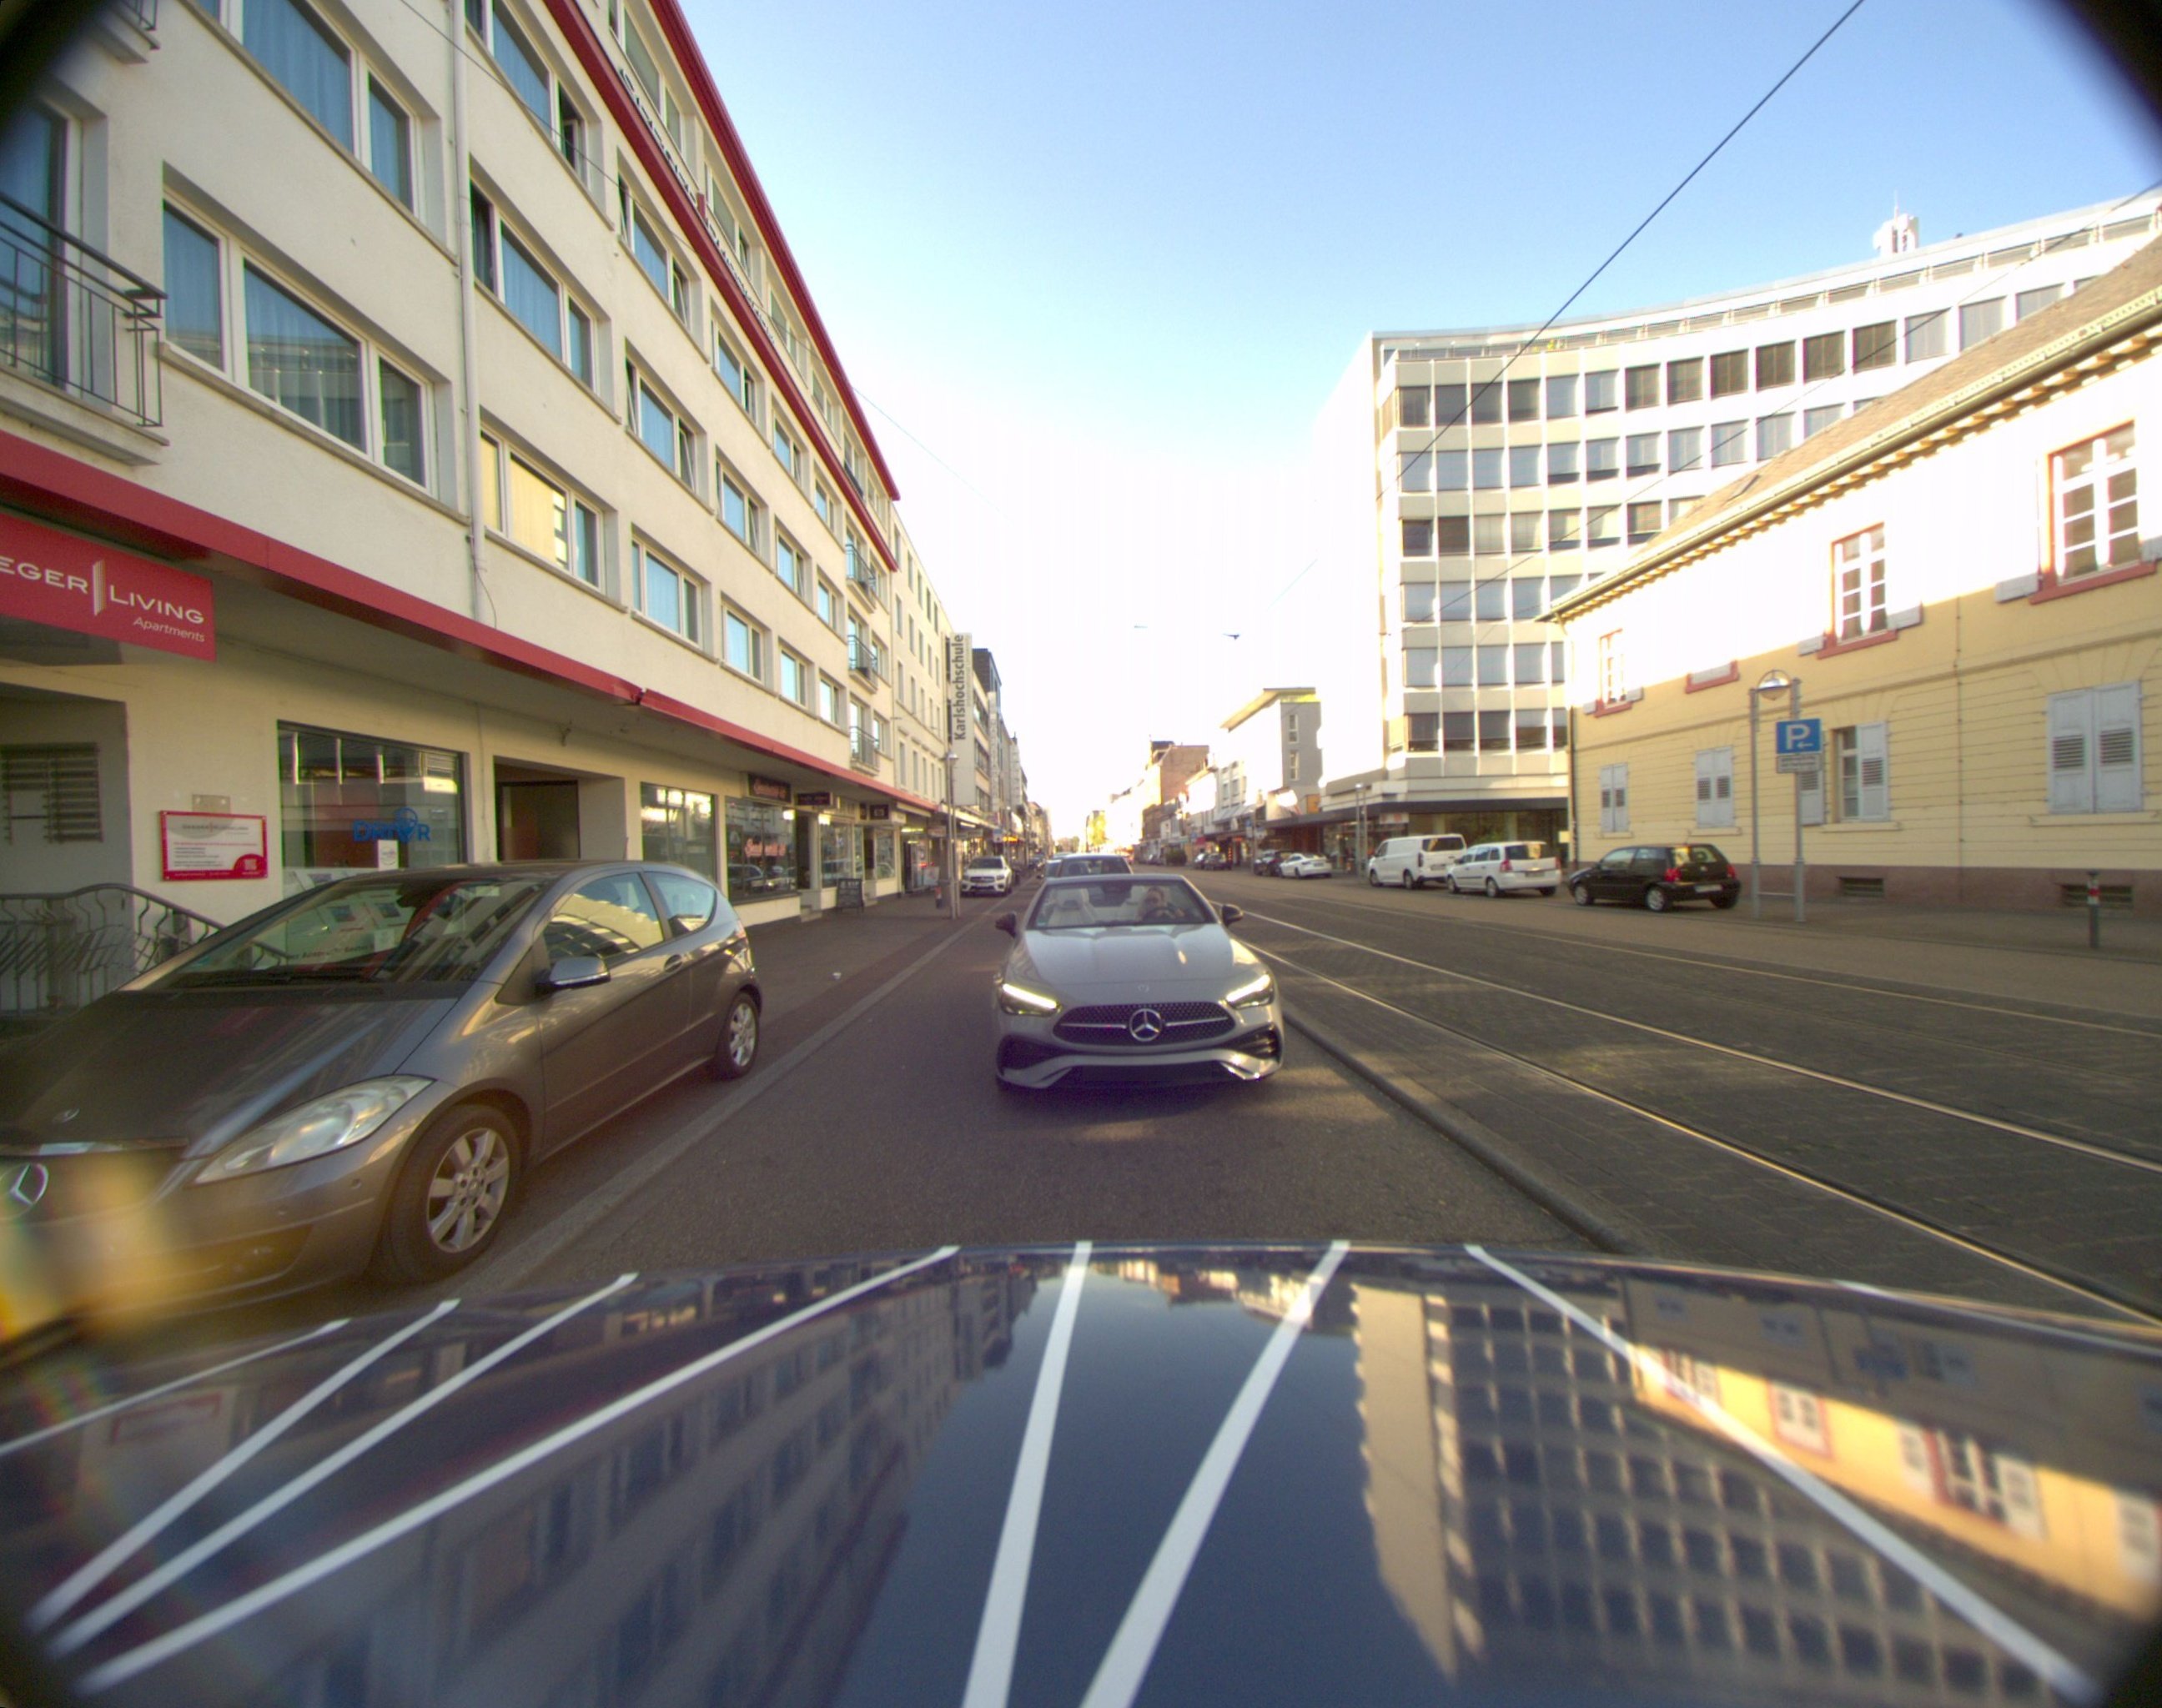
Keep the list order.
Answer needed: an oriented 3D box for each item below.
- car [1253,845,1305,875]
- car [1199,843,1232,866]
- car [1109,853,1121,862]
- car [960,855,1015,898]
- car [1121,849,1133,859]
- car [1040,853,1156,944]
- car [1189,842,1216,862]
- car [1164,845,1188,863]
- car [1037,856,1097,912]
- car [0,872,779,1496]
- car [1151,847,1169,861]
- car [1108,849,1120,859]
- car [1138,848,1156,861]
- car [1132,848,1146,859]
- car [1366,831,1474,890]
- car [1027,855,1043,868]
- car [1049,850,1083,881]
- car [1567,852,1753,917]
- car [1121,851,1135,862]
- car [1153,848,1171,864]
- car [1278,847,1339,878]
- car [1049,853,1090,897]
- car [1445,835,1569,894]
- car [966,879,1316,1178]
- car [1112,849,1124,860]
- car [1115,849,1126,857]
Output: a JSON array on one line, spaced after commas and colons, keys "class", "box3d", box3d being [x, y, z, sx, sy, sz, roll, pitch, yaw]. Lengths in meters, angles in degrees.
[{"class": "car", "box3d": [12.339, 0.360, 47.696, 1.999, 1.694, 4.107, -3, 1, -2]}, {"class": "car", "box3d": [11.561, 0.047, 65.504, 1.999, 1.849, 3.998, -2, 1, -2]}, {"class": "car", "box3d": [6.147, 0.649, 136.416, 1.964, 1.499, 4.000, -2, 1, 4]}, {"class": "car", "box3d": [-3.843, 0.888, 31.715, 1.999, 1.620, 3.998, -1, 0, -4]}, {"class": "car", "box3d": [9.556, -0.052, 157.311, 1.999, 2.002, 3.999, -1, 0, -2]}, {"class": "car", "box3d": [0.208, 0.795, 15.492, 1.927, 1.533, 3.998, -2, 0, -4]}, {"class": "car", "box3d": [11.833, -0.217, 74.184, 1.789, 1.870, 3.999, -1, 0, -2]}, {"class": "car", "box3d": [11.296, 0.021, 90.393, 2.200, 2.030, 3.999, -1, 0, -1]}, {"class": "car", "box3d": [-0.431, 0.864, 23.610, 1.648, 1.506, 3.844, -2, 0, -1]}, {"class": "car", "box3d": [-3.214, 0.936, 3.978, 1.683, 1.537, 3.999, -2, 0, -1]}, {"class": "car", "box3d": [11.578, 0.001, 111.446, 1.999, 2.002, 3.998, -2, 1, -2]}, {"class": "car", "box3d": [6.286, -0.027, 143.997, 1.914, 1.883, 3.855, -2, 1, -2]}, {"class": "car", "box3d": [10.343, 0.028, 119.465, 1.999, 2.002, 5.319, -1, 0, -3]}, {"class": "car", "box3d": [10.276, -0.092, 134.610, 1.999, 2.002, 3.999, -2, 0, -1]}, {"class": "car", "box3d": [12.685, 0.231, 28.784, 2.040, 2.002, 4.621, -1, 0, 1]}, {"class": "car", "box3d": [-5.742, 0.902, 95.374, 1.714, 1.430, 3.756, -2, 1, -1]}, {"class": "car", "box3d": [-0.932, 0.672, 47.101, 1.999, 1.793, 3.999, -2, 1, -1]}, {"class": "car", "box3d": [12.849, 0.625, 17.126, 1.688, 1.246, 3.212, -2, 1, -1]}, {"class": "car", "box3d": [7.193, 0.347, 116.255, 1.760, 1.587, 3.999, -1, 0, -2]}, {"class": "car", "box3d": [10.774, 0.255, 100.874, 1.998, 2.002, 4.000, -1, 0, 1]}, {"class": "car", "box3d": [12.564, 0.422, 42.249, 1.999, 1.521, 4.373, -2, 1, -1]}, {"class": "car", "box3d": [-0.491, 0.818, 31.866, 1.573, 1.670, 3.688, -2, 1, -1]}, {"class": "car", "box3d": [12.792, 0.267, 23.115, 1.641, 1.600, 4.005, -2, 1, 3]}, {"class": "car", "box3d": [0.202, 1.012, 6.156, 1.884, 1.375, 3.998, -2, 1, -4]}, {"class": "car", "box3d": [7.439, 0.141, 151.351, 1.999, 2.002, 3.998, -2, 1, -2]}, {"class": "car", "box3d": [9.074, -0.230, 176.630, 2.148, 1.850, 3.998, -2, 1, -2]}]
